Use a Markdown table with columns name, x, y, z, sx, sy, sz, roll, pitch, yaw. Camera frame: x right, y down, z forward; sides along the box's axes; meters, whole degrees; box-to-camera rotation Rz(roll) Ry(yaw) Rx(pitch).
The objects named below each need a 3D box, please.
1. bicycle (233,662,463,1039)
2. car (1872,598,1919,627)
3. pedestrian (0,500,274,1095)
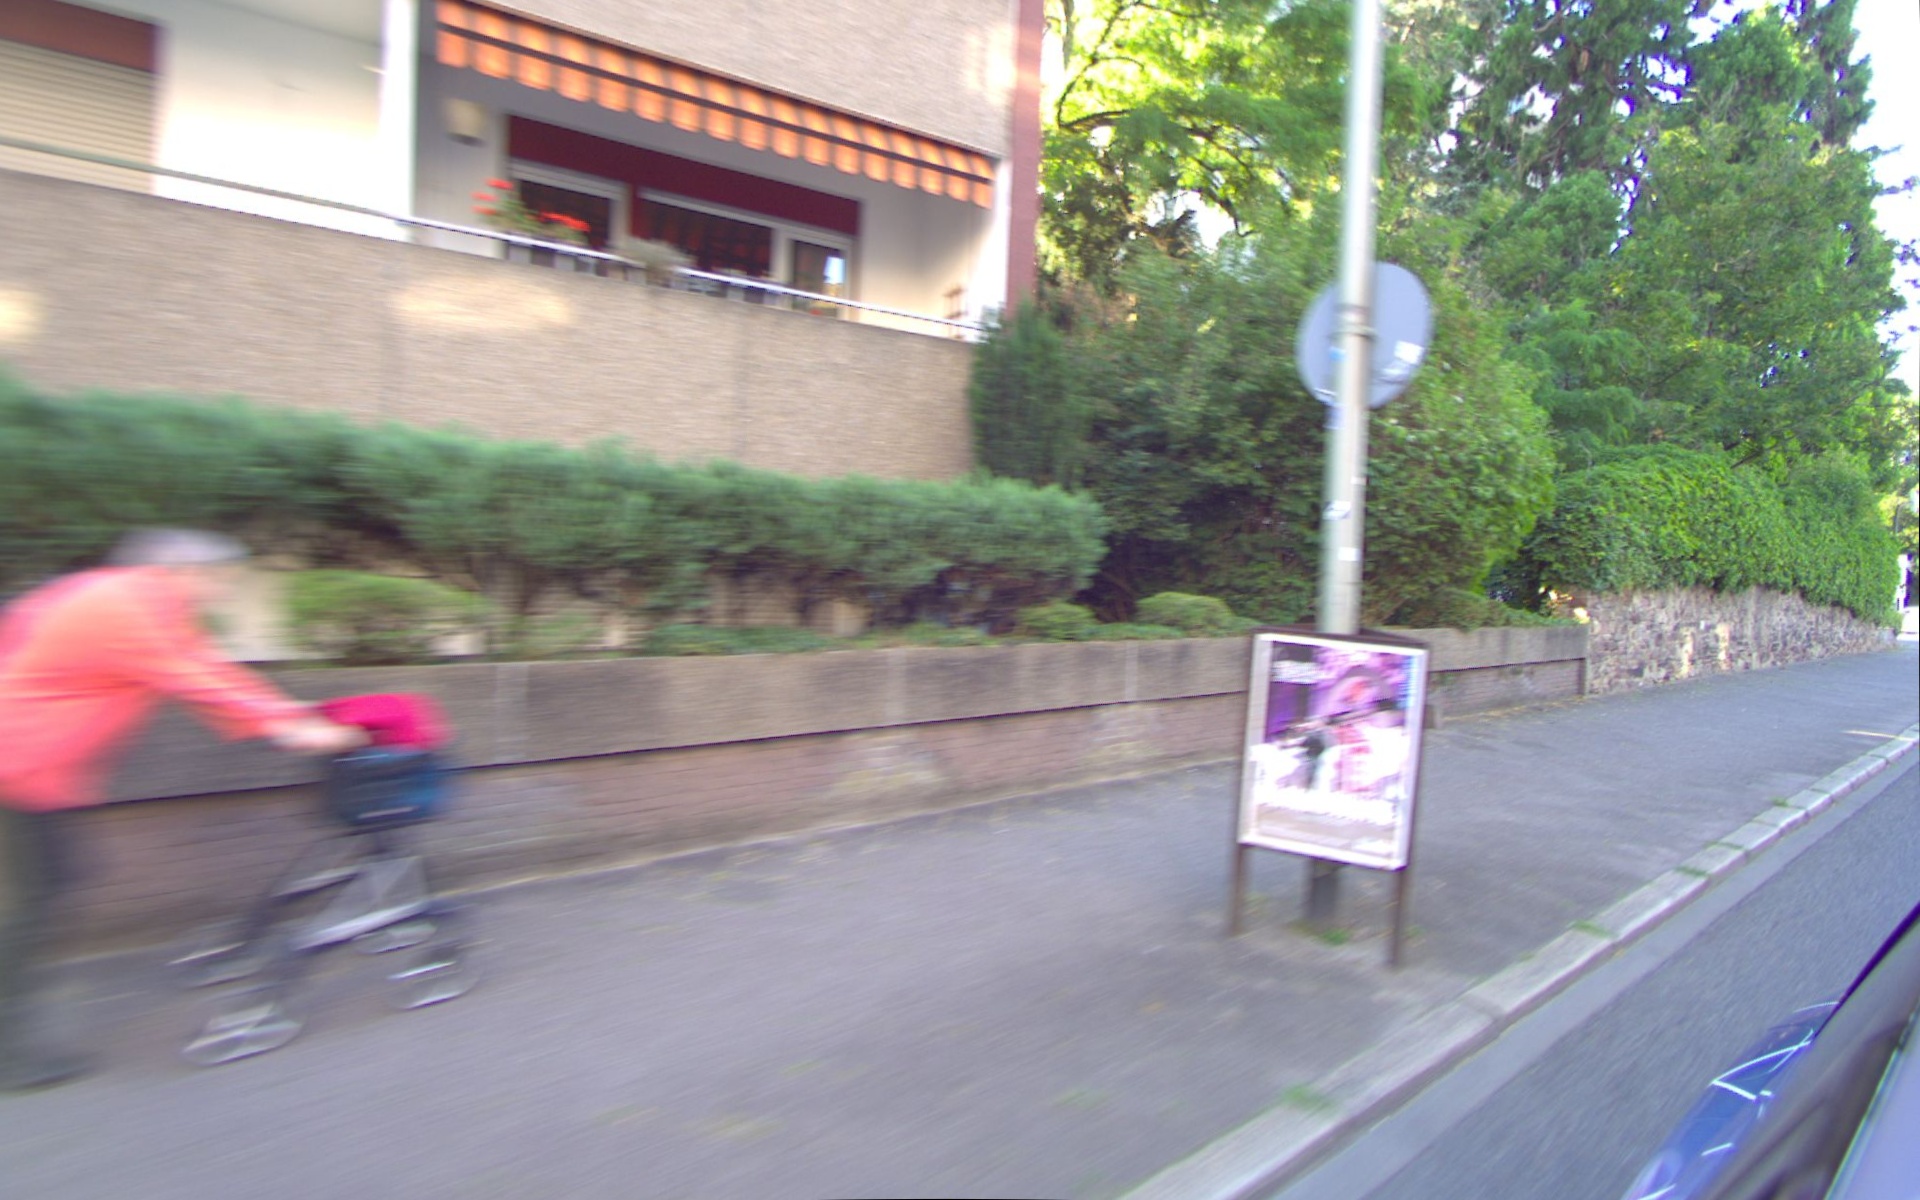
| name | x | y | z | sx | sy | sz | roll | pitch | yaw |
| --- | --- | --- | --- | --- | --- | --- | --- | --- | --- |
| bicycle | -1.915 | 0.712 | 3.159 | 0.484 | 0.982 | 0.567 | 2 | 0 | -44 |
| car | 51.240 | 0.667 | 53.771 | 1.746 | 1.499 | 4.098 | 2 | 0 | -3 |
| pedestrian | -2.338 | 0.469 | 2.770 | 0.656 | 1.421 | 0.598 | 2 | 0 | -42 |
